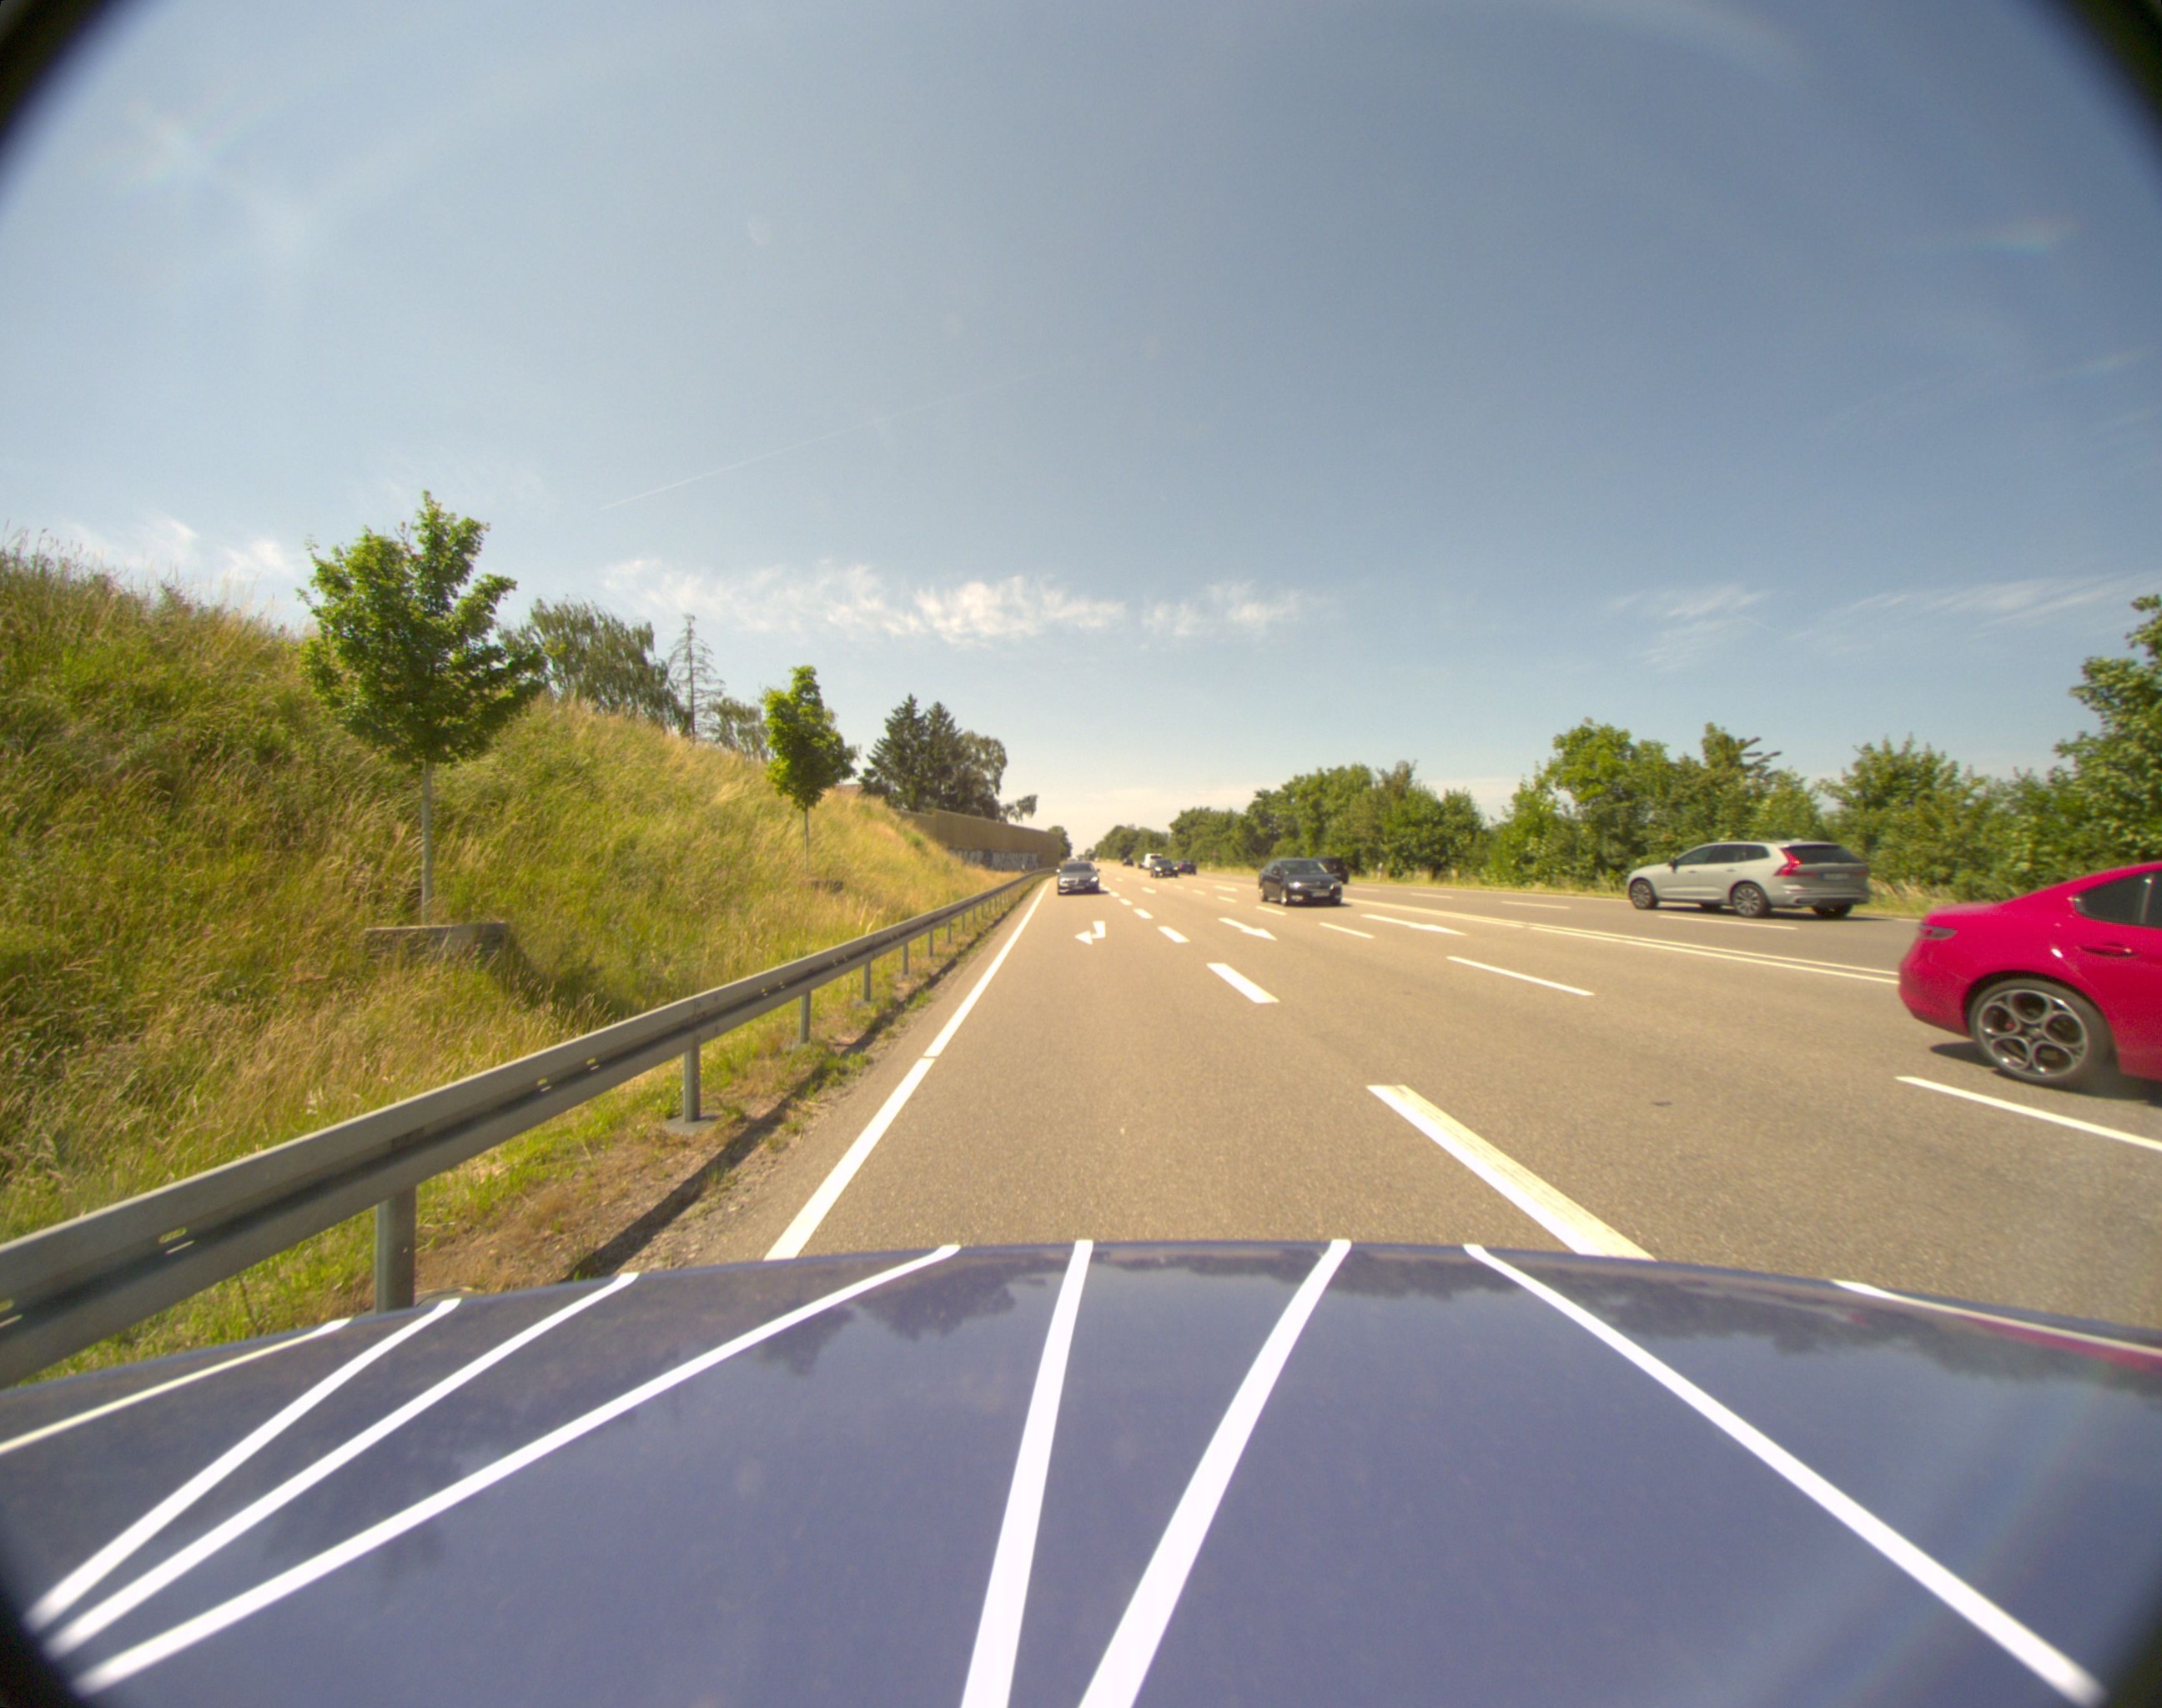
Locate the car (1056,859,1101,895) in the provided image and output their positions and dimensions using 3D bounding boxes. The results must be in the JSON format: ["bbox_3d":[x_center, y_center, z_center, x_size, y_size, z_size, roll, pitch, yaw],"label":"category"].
[{"bbox_3d":[-0.146,0.996,34.641,1.894,1.439,4.525,-2,0,-1],"label":"car"}]

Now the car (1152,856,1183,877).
[{"bbox_3d":[6.616,0.954,58.690,1.894,1.439,4.525,-2,0,0],"label":"car"}]

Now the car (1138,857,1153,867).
[{"bbox_3d":[9.168,1.085,108.094,1.555,1.326,4.853,-1,0,-3],"label":"car"}]

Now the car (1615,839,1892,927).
[{"bbox_3d":[14.630,0.560,16.980,2.033,1.630,4.568,-2,0,-2],"label":"car"}]

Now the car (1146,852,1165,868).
[{"bbox_3d":[9.272,0.752,94.903,1.910,1.906,5.051,0,0,0],"label":"car"}]

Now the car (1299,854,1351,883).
[{"bbox_3d":[13.450,0.792,42.063,1.649,1.479,3.558,-2,0,-2],"label":"car"}]

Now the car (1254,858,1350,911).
[{"bbox_3d":[6.802,0.878,23.889,1.679,1.403,4.466,-2,0,0],"label":"car"}]

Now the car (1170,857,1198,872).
[{"bbox_3d":[9.582,0.994,71.107,1.810,1.272,4.765,-1,0,-1],"label":"car"}]

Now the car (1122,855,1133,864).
[{"bbox_3d":[8.511,0.955,139.344,1.893,1.527,4.525,-2,0,1],"label":"car"}]

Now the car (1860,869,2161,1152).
[{"bbox_3d":[6.566,0.828,3.237,1.753,1.413,4.566,-2,0,-1],"label":"car"}]
